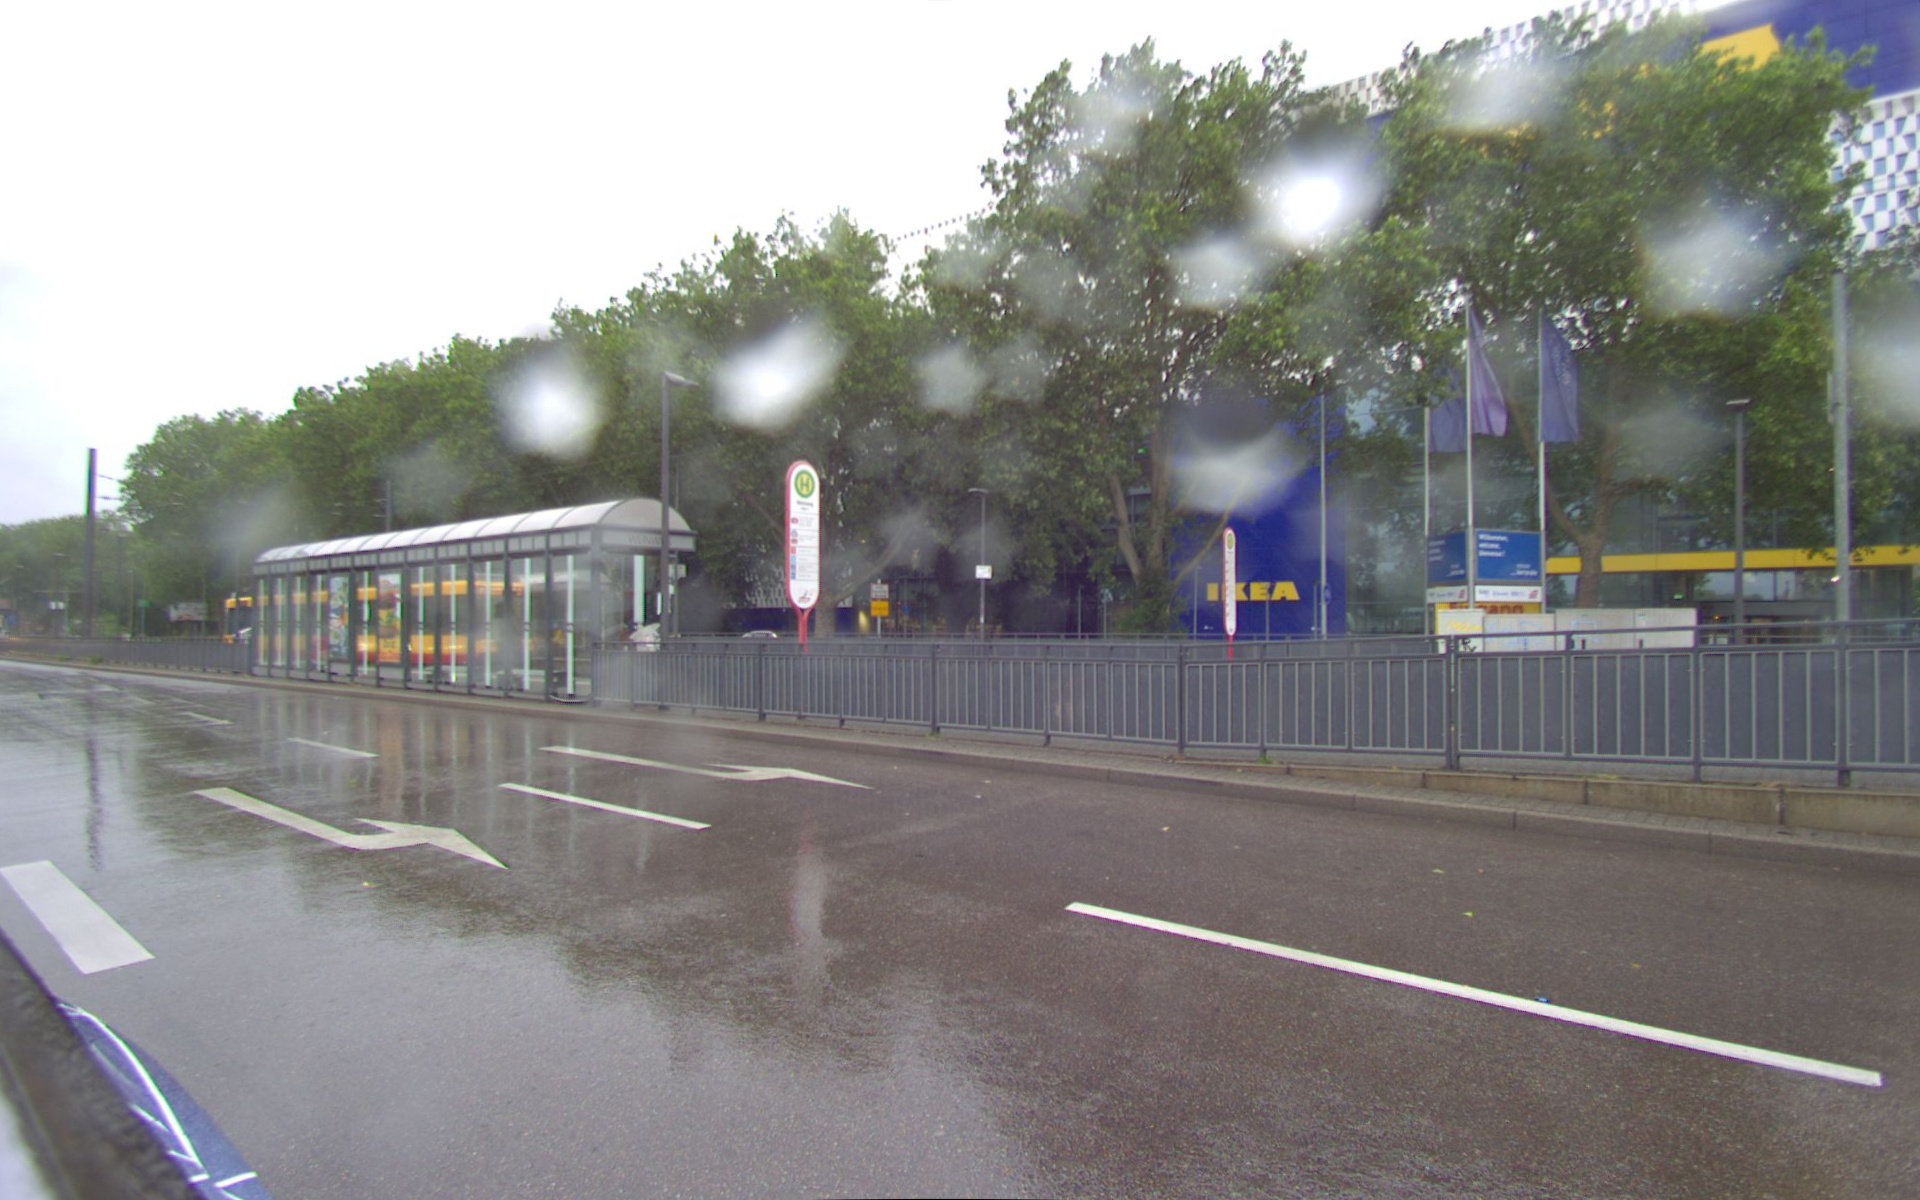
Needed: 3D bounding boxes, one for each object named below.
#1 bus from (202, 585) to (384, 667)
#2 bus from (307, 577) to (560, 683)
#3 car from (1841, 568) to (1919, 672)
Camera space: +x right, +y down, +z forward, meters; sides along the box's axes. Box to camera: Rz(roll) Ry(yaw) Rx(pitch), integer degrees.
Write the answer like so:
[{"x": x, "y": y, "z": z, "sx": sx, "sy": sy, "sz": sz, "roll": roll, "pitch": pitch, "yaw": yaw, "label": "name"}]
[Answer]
[{"x": -31.773, "y": 1.134, "z": 47.684, "sx": 15.049, "sy": 3.354, "sz": 2.902, "roll": -1, "pitch": 0, "yaw": 40, "label": "bus"}, {"x": -20.198, "y": 1.011, "z": 37.925, "sx": 15.052, "sy": 3.354, "sz": 2.901, "roll": -1, "pitch": 0, "yaw": 40, "label": "bus"}, {"x": 20.160, "y": 0.365, "z": 19.861, "sx": 3.986, "sy": 2.029, "sz": 1.979, "roll": -1, "pitch": 0, "yaw": 31, "label": "car"}]
